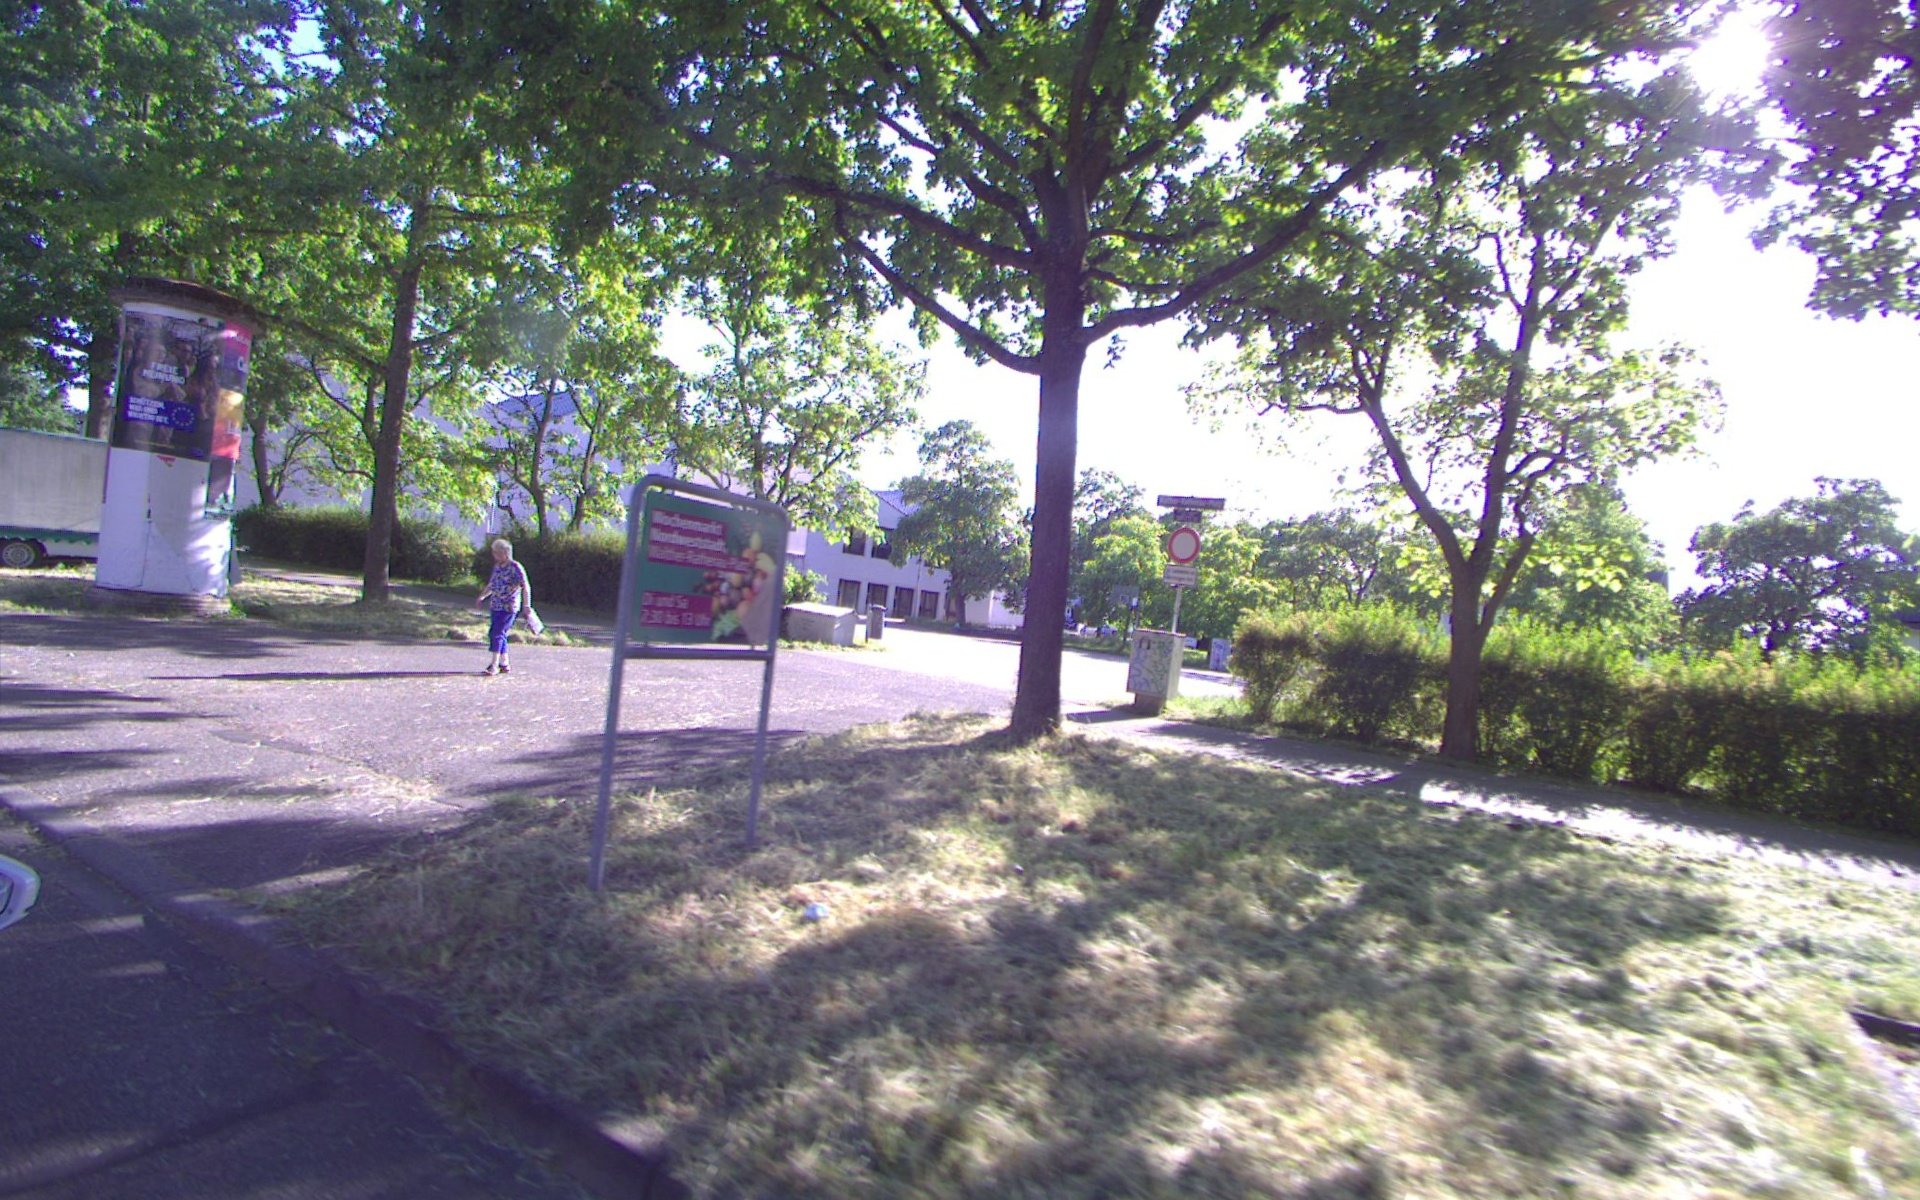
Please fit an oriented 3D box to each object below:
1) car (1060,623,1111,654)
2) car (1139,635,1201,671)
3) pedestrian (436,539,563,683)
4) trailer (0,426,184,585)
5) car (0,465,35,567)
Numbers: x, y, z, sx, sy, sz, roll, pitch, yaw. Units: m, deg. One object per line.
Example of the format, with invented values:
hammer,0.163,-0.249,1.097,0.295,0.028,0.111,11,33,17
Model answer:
car,12.704,3.885,102.233,2.321,2.641,5.431,7,-1,-27
car,19.001,4.737,91.338,2.321,2.641,5.431,7,-1,-27
pedestrian,-5.329,0.117,11.700,0.868,1.520,0.943,6,2,6
trailer,-15.925,-1.631,15.668,1.658,2.348,5.774,7,2,33
car,-18.608,-1.648,16.515,1.955,1.745,4.643,7,1,32
